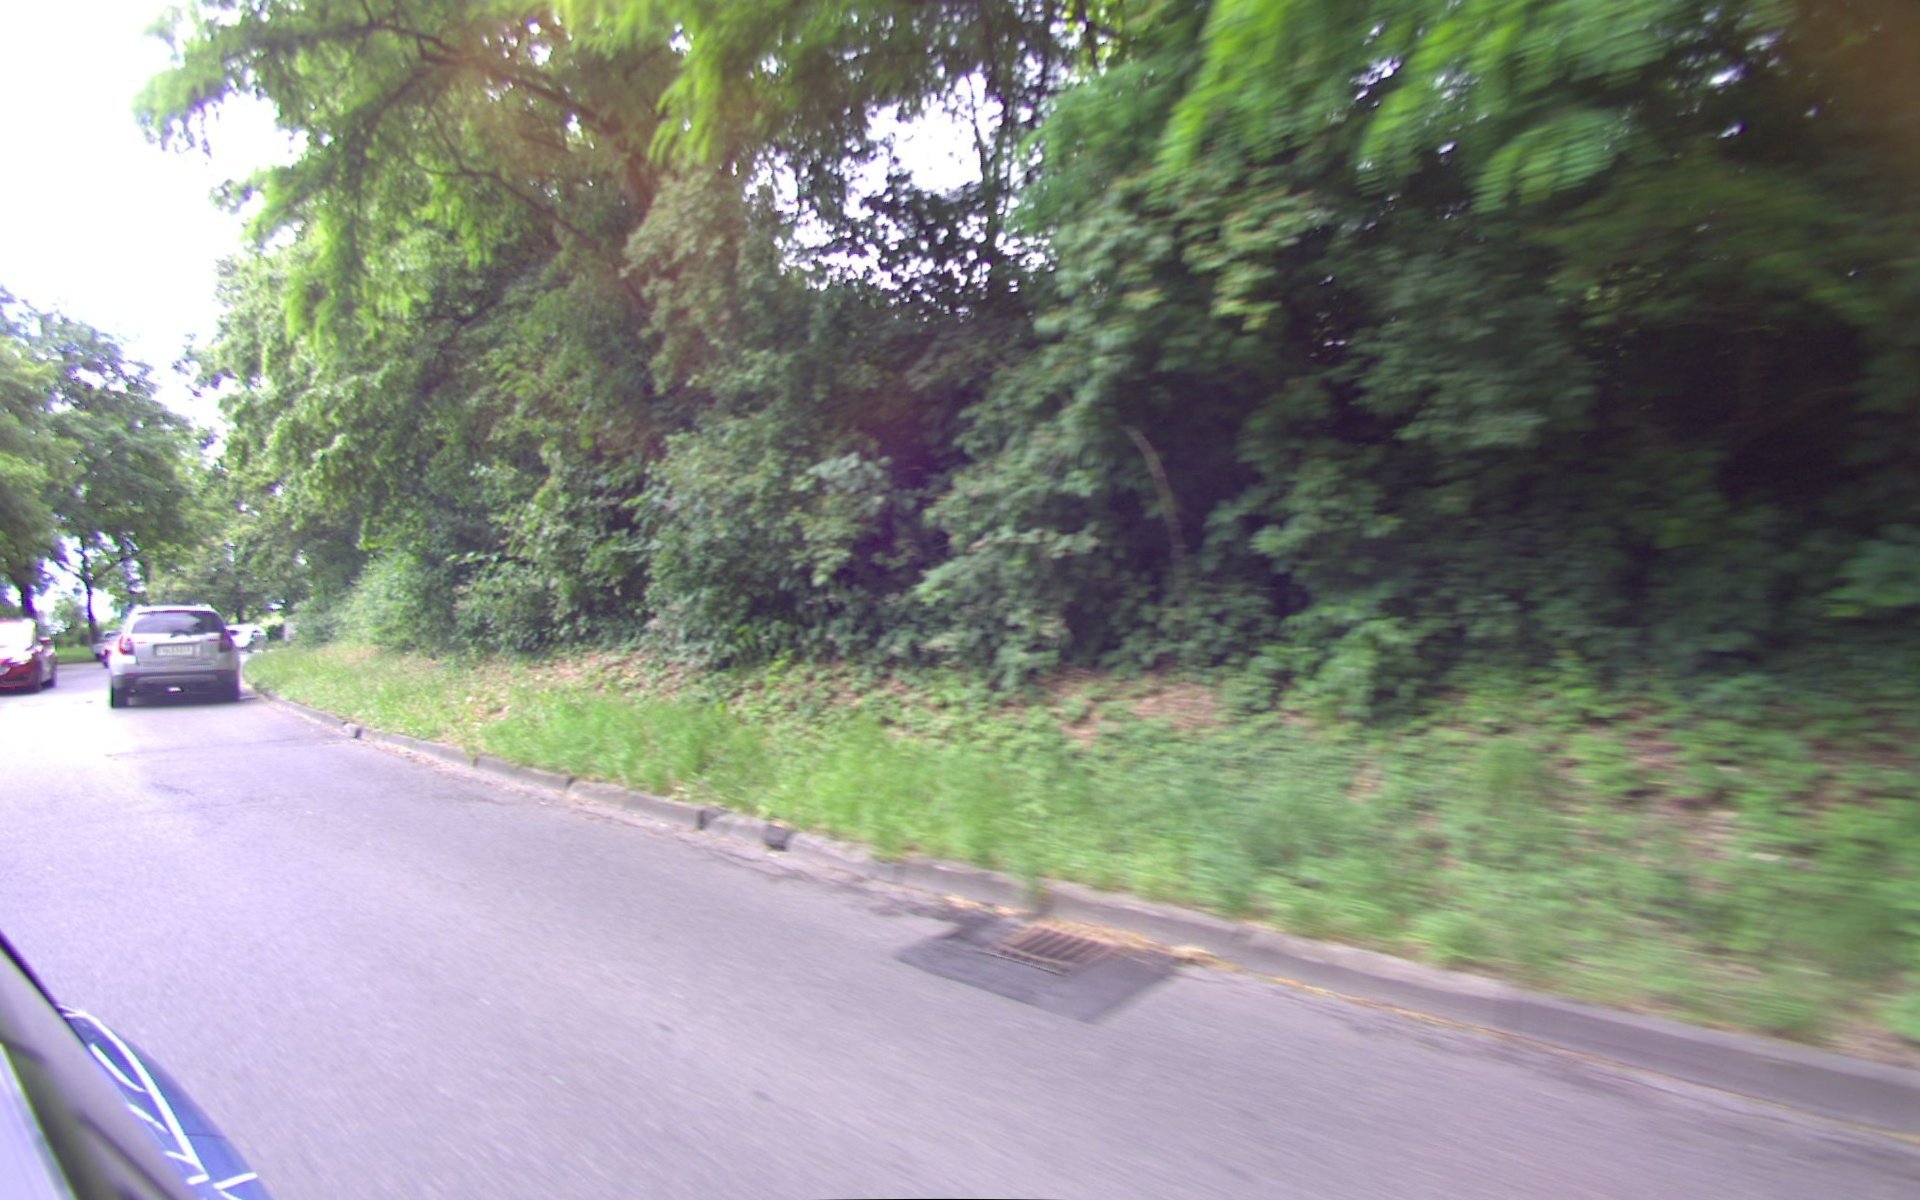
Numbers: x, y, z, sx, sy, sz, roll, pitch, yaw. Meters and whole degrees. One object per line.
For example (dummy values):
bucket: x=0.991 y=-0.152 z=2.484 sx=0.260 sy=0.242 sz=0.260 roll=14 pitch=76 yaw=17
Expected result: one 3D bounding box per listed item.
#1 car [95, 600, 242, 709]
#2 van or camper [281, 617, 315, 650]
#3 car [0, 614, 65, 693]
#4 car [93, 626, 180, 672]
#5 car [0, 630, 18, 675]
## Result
car: x=-14.579 y=0.907 z=18.554 sx=1.798 sy=1.741 sz=4.317 roll=-1 pitch=0 yaw=-42
van or camper: x=-51.098 y=2.517 z=78.171 sx=1.966 sy=2.361 sz=5.044 roll=-1 pitch=0 yaw=-31
car: x=-21.694 y=1.146 z=22.658 sx=1.972 sy=1.621 sz=4.688 roll=-1 pitch=0 yaw=-35
car: x=-31.305 y=1.810 z=38.607 sx=1.926 sy=1.483 sz=4.691 roll=-1 pitch=0 yaw=-31
car: x=-32.559 y=1.756 z=33.325 sx=1.688 sy=1.432 sz=4.688 roll=-1 pitch=0 yaw=-36
